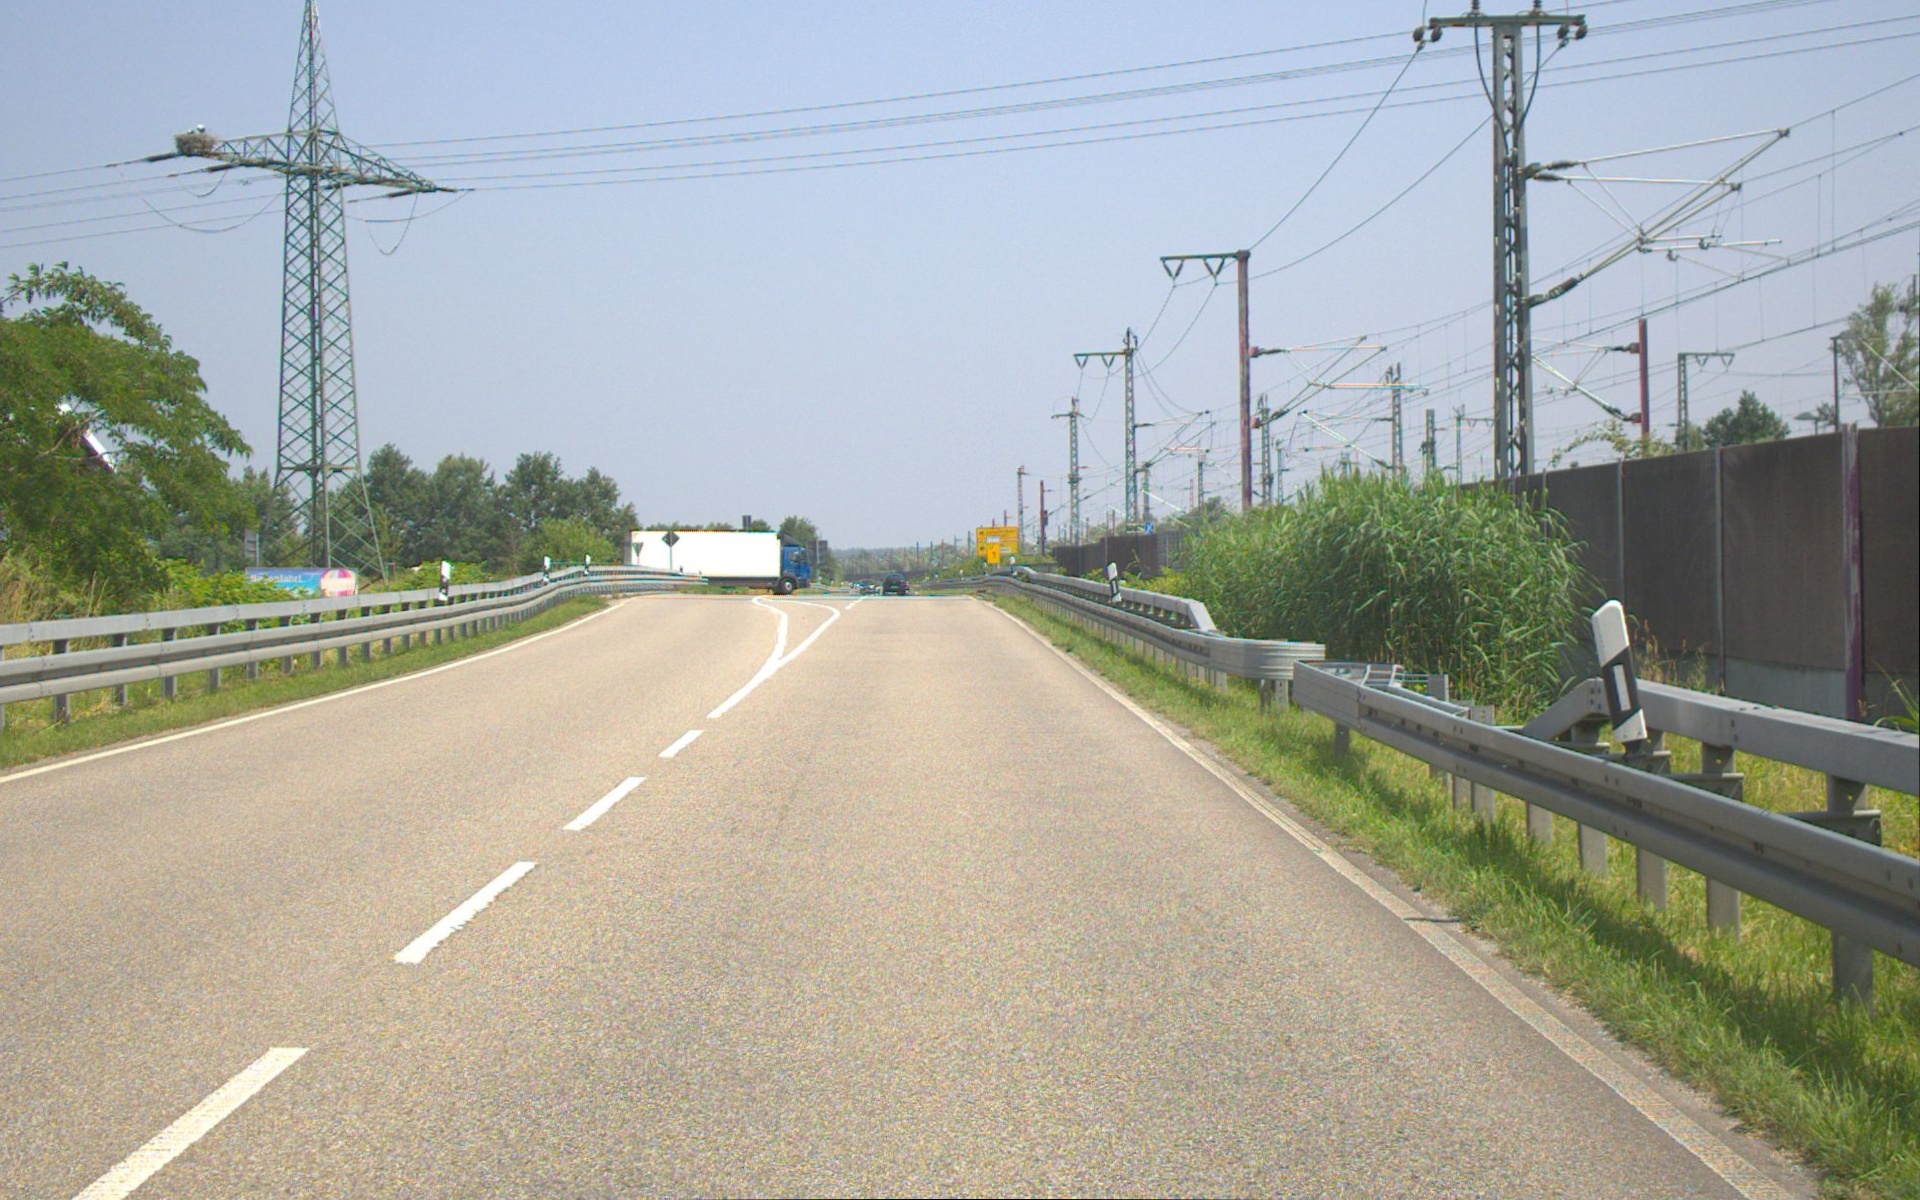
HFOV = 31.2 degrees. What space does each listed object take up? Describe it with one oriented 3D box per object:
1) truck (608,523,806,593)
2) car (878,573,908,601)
[{"bbox_3d":[-13.757,-2.270,186.896,10.410,3.619,2.846,1,1,-12],"label":"truck"},{"bbox_3d":[-4.954,-0.947,255.274,1.993,2.007,4.001,0,1,-4],"label":"car"}]
